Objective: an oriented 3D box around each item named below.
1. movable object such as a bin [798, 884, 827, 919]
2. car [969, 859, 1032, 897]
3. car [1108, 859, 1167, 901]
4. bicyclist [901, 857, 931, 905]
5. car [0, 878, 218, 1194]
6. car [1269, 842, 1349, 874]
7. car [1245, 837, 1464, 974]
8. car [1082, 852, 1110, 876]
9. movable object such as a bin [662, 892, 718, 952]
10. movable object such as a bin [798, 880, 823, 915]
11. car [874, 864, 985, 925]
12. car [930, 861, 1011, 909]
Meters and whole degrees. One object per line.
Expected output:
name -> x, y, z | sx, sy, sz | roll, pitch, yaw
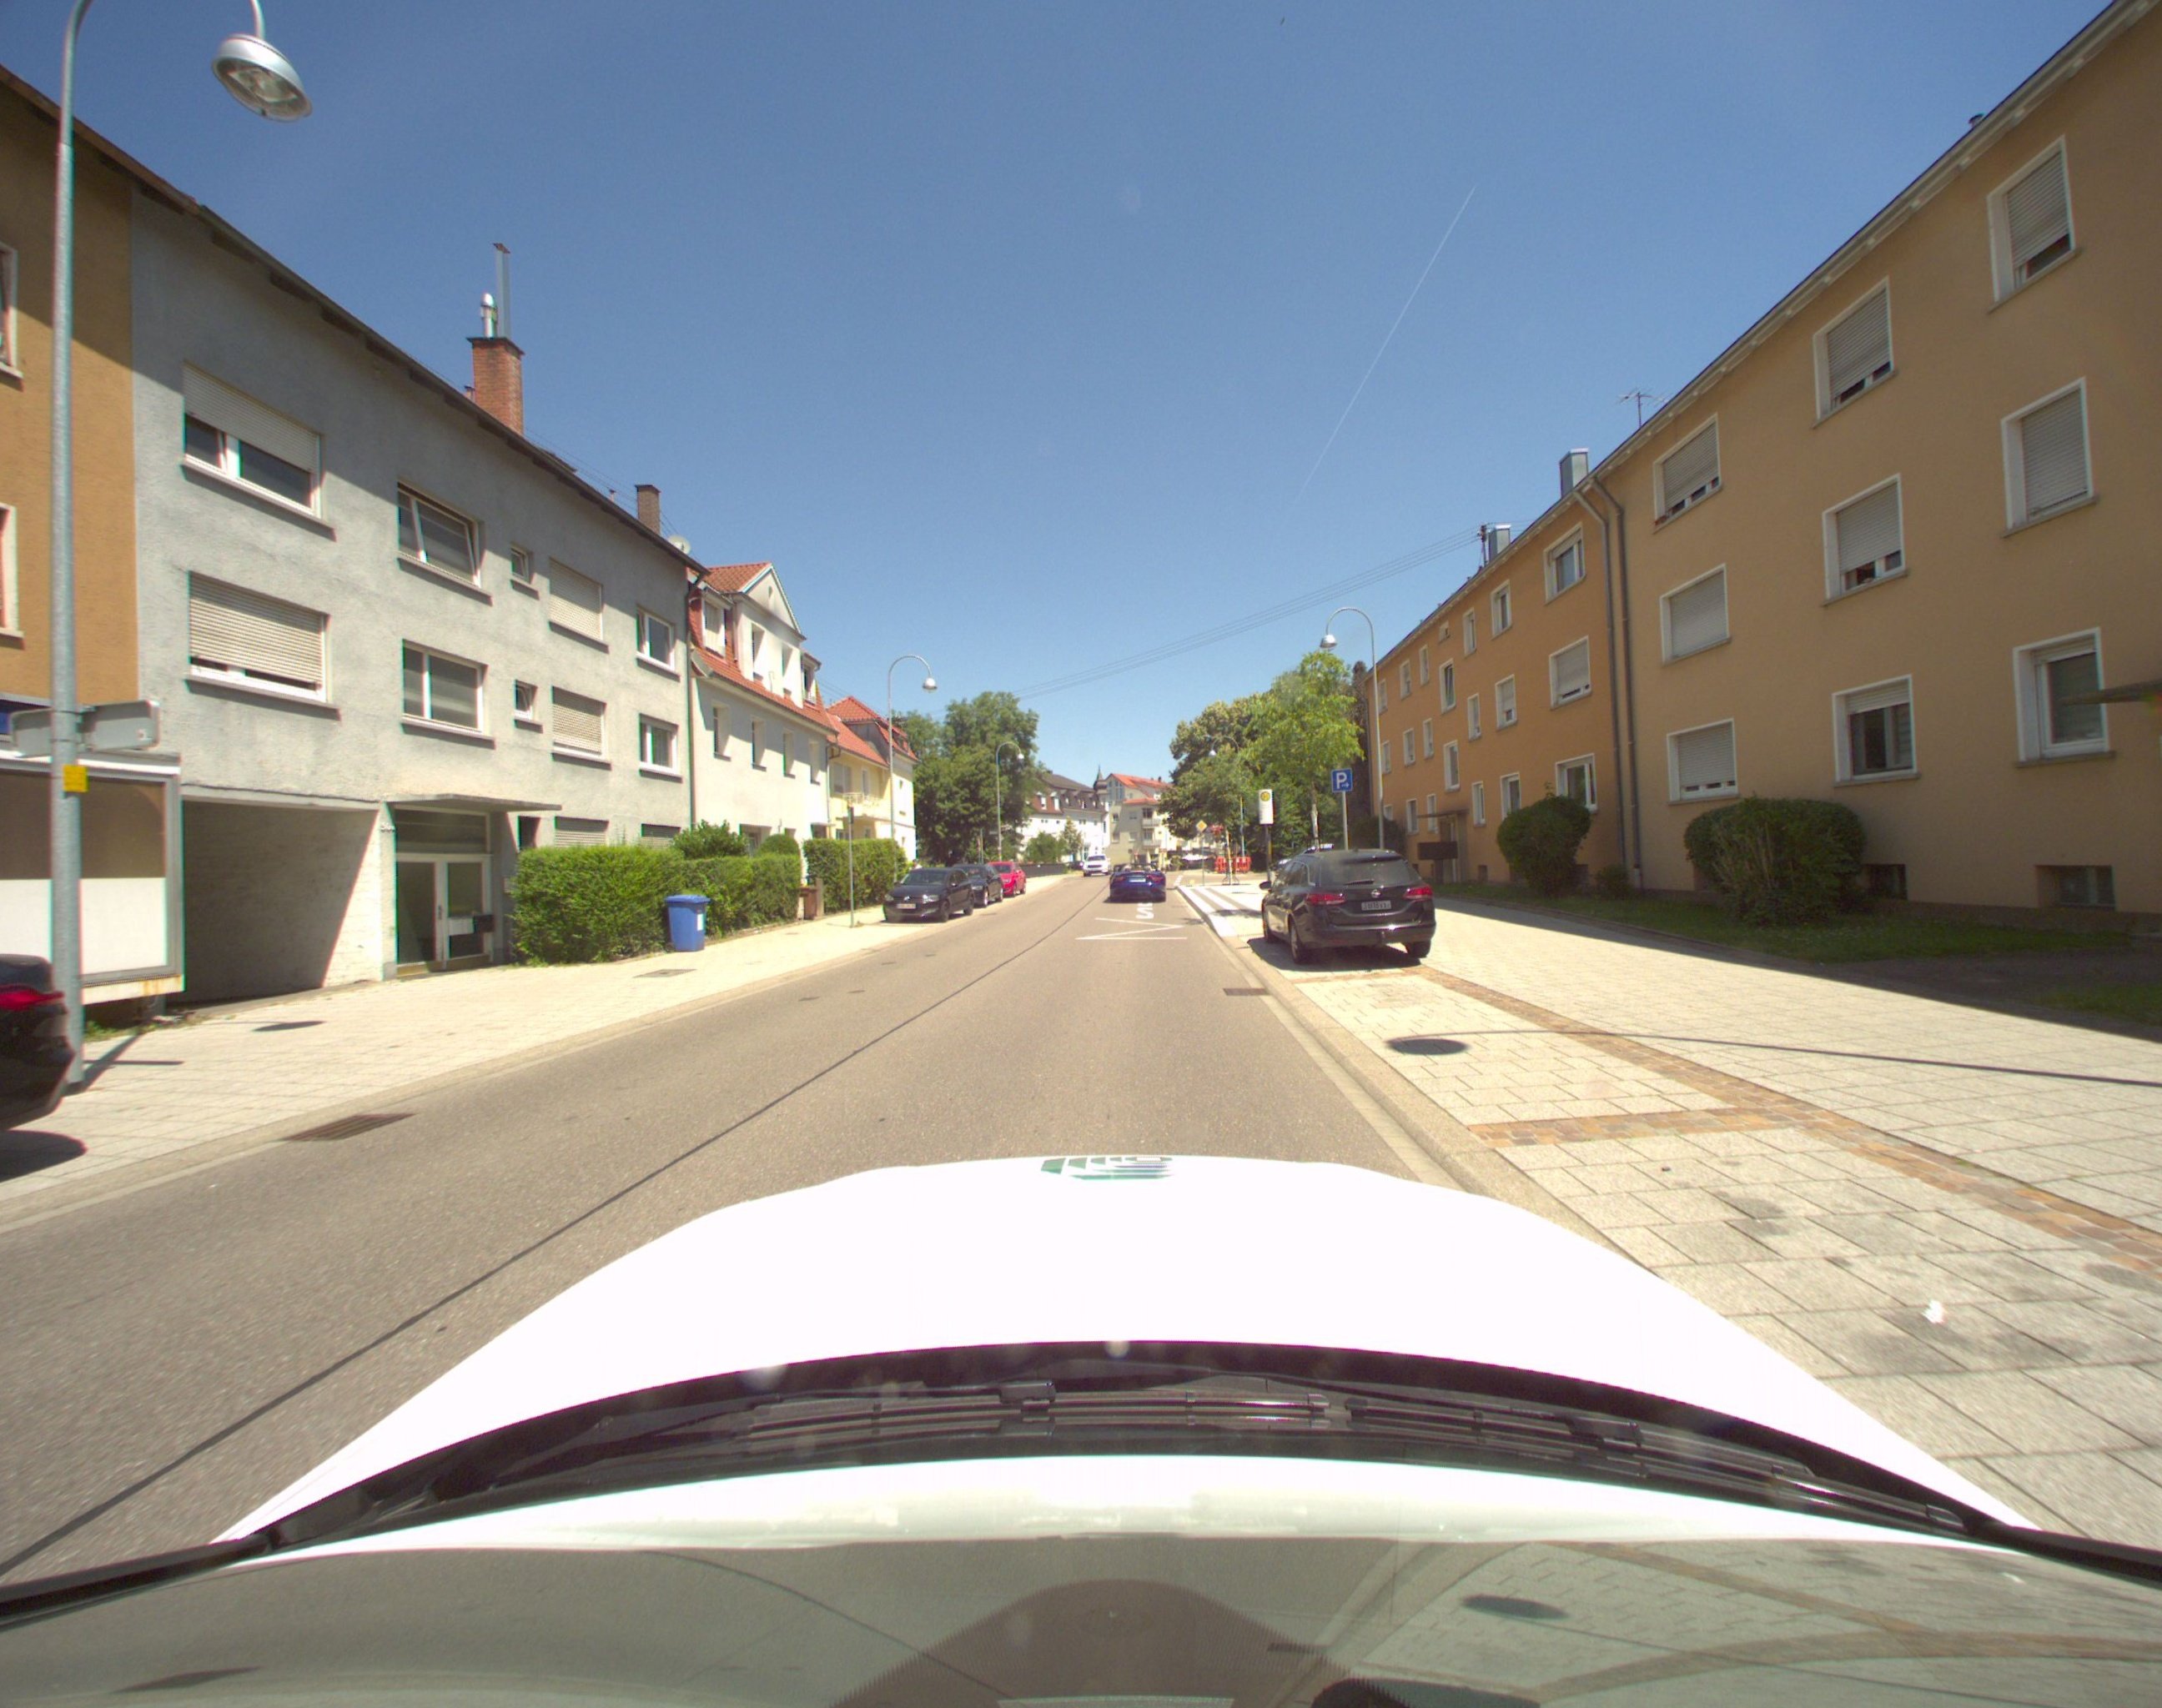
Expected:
movable object such as a bin -> -7.426, 1.315, 22.513 | 0.492, 0.912, 0.707 | -3, 0, 4
car -> -3.403, 0.991, 35.339 | 1.869, 1.479, 4.744 | 0, 0, 5
car -> 2.023, 0.878, 28.723 | 1.862, 1.342, 4.601 | -1, -1, 5
bicyclist -> -5.953, 0.960, 29.418 | 0.779, 1.659, 0.836 | -3, -1, 3
car -> -7.034, 0.993, 2.840 | 2.070, 1.614, 5.127 | -1, 0, 14
car -> 13.818, 0.256, 49.401 | 4.329, 1.839, 1.747 | -1, -1, -4
car -> 3.775, 0.626, 12.279 | 1.825, 1.504, 5.069 | -4, 0, 4
car -> 1.171, 0.699, 60.675 | 1.870, 1.597, 4.363 | -4, 0, 3
movable object such as a bin -> -7.426, 1.278, 15.477 | 0.670, 1.048, 0.653 | -3, 0, 4
movable object such as a bin -> -7.942, 1.264, 23.905 | 0.465, 0.990, 0.615 | -3, 0, 4
car -> -4.145, 1.047, 22.994 | 1.777, 1.459, 4.208 | 0, 0, 8
car -> -3.857, 1.047, 29.429 | 1.855, 1.461, 5.313 | 0, 0, 4
